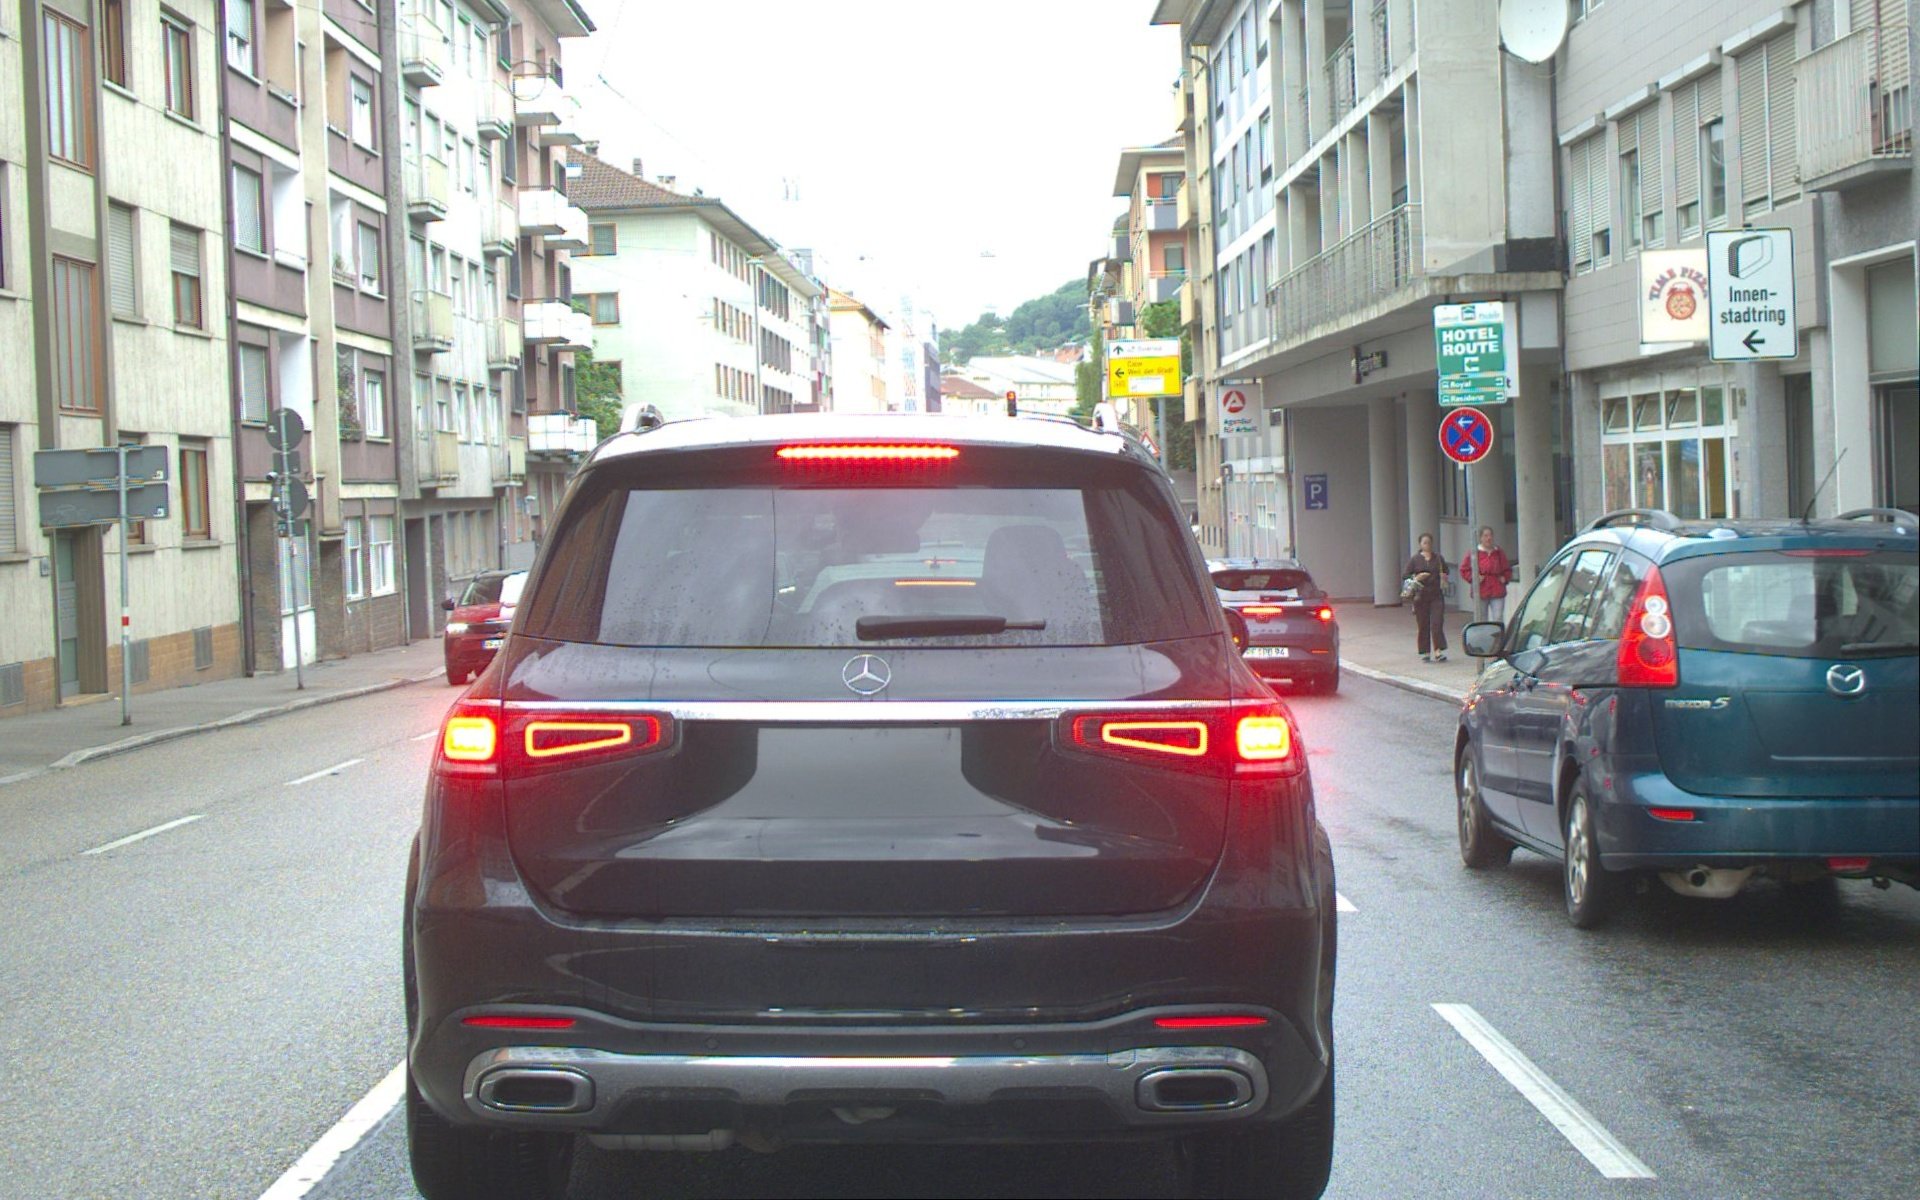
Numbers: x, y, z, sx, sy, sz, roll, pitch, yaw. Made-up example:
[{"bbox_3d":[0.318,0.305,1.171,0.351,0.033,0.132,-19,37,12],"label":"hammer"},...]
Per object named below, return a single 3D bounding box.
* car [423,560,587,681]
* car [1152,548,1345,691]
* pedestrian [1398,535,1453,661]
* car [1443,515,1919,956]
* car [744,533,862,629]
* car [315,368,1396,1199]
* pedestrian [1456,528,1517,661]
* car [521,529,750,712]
[{"bbox_3d":[-6.671,0.269,50.775,1.797,1.579,4.316,-3,1,-1],"label":"car"},{"bbox_3d":[3.062,0.164,37.213,1.621,1.425,4.312,1,1,-1],"label":"car"},{"bbox_3d":[5.674,-0.025,41.910,0.506,1.495,0.562,-4,1,2],"label":"pedestrian"},{"bbox_3d":[3.212,0.460,14.603,1.808,1.600,4.212,0,1,1],"label":"car"},{"bbox_3d":[-3.097,-0.405,68.662,2.126,1.715,4.818,-3,1,-1],"label":"car"},{"bbox_3d":[-0.238,0.443,8.521,2.025,1.799,4.000,1,1,-1],"label":"car"},{"bbox_3d":[6.414,-0.073,41.909,0.560,1.573,0.526,-4,1,0],"label":"pedestrian"},{"bbox_3d":[-3.415,0.163,36.950,1.836,1.721,4.474,-4,1,1],"label":"car"}]
